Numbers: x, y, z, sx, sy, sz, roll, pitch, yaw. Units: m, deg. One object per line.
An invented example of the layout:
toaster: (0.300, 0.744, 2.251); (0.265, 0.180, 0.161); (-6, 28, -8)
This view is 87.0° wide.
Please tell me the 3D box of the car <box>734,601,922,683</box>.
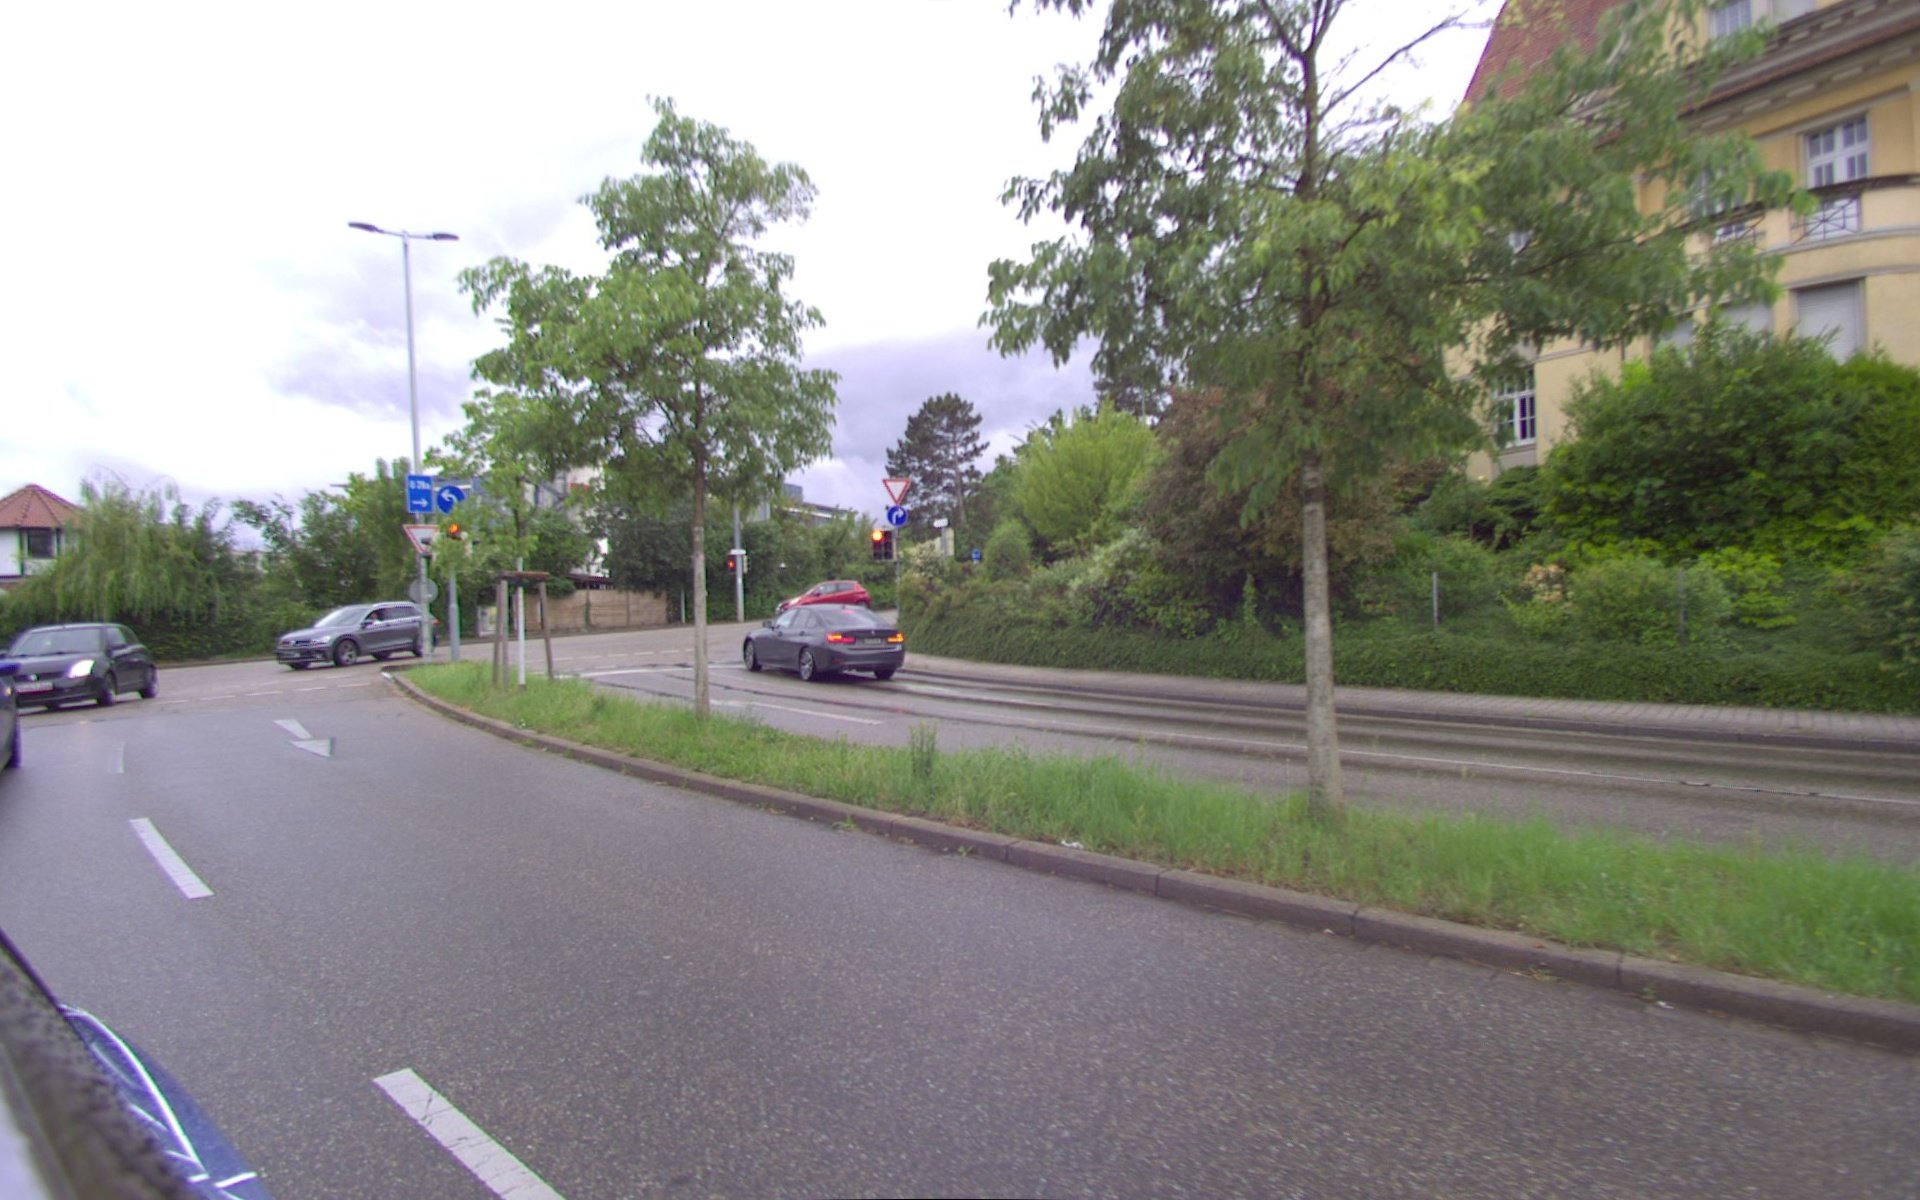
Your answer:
car: (-2.768, 0.820, 20.237); (1.966, 1.449, 4.560); (1, -2, -33)

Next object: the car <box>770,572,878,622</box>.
car: (-5.648, -0.148, 42.214); (3.933, 1.738, 1.875); (-5, 1, -30)

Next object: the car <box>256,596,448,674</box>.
car: (-16.965, 0.921, 28.482); (1.954, 1.762, 4.280); (-4, 1, 20)

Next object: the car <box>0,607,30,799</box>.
car: (-9.140, 0.857, 8.363); (1.885, 1.507, 4.356); (-3, 1, -40)

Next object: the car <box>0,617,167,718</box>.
car: (-15.960, 1.139, 18.106); (1.717, 1.530, 4.013); (-5, 1, -23)
